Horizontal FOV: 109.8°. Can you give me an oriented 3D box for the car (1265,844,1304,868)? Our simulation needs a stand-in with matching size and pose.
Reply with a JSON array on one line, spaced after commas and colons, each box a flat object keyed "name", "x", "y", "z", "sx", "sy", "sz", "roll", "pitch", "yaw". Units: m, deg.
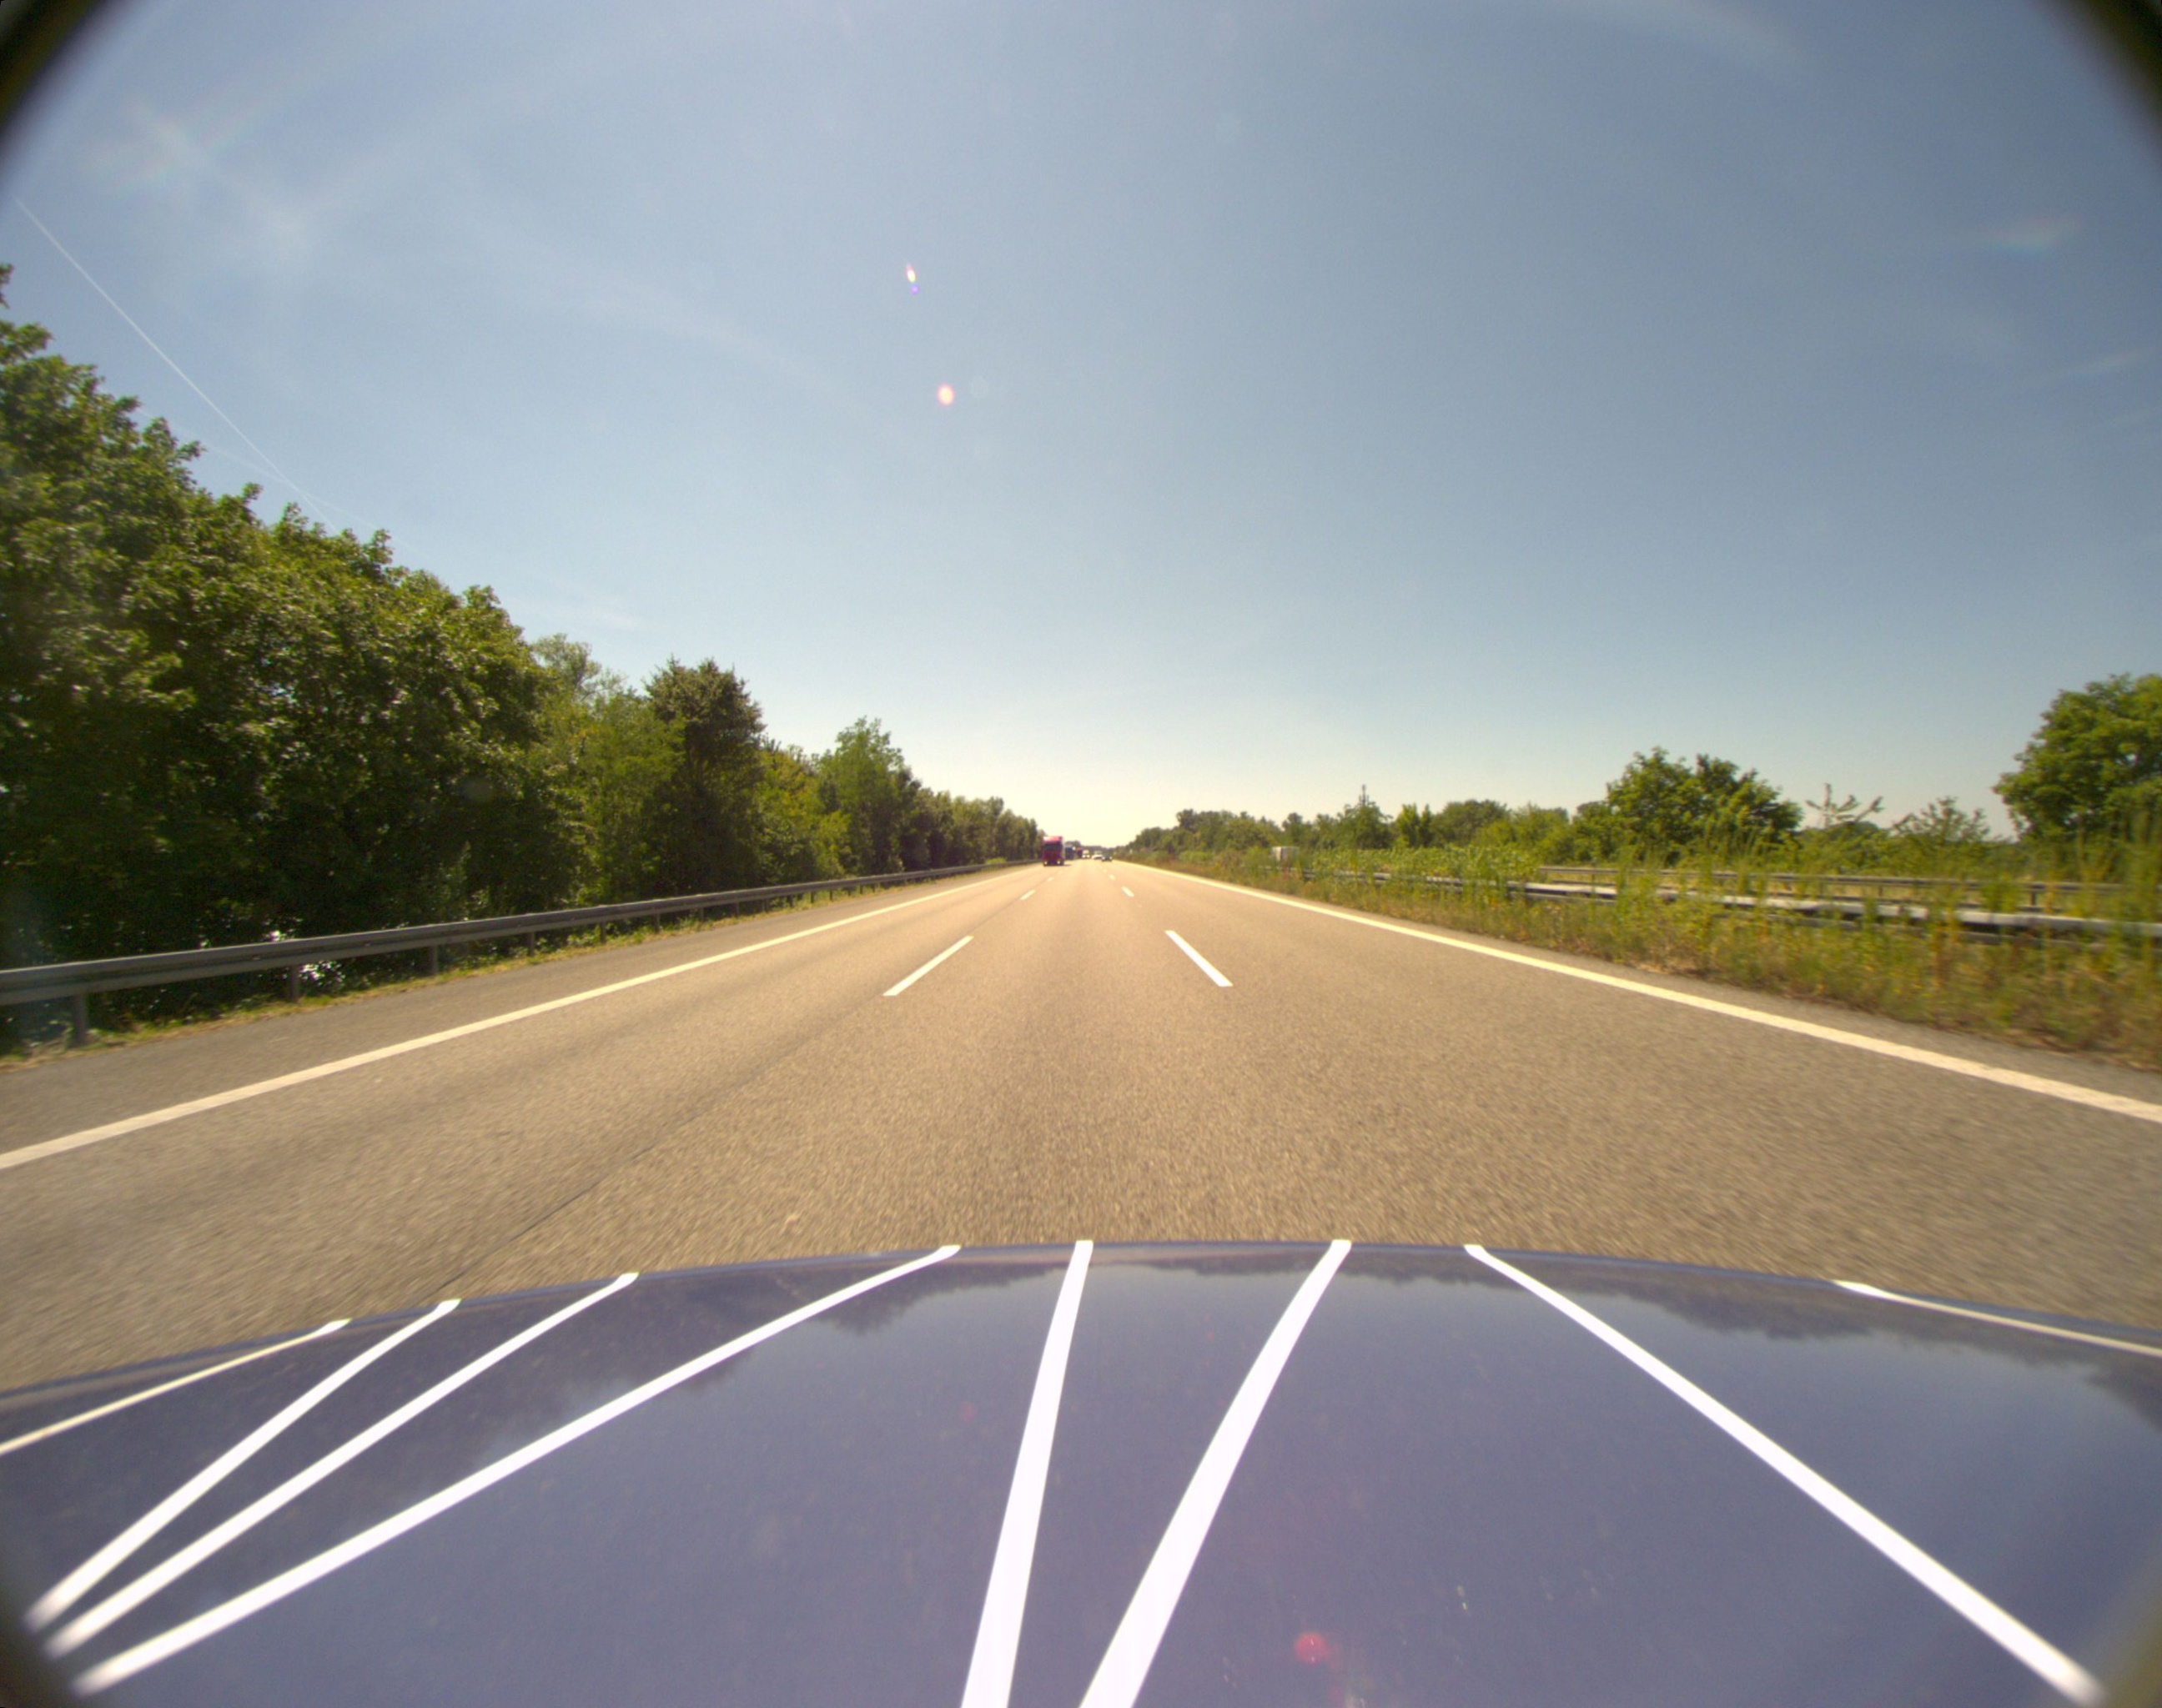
[{"name": "car", "x": 18.046, "y": 0.124, "z": 67.713, "sx": 1.998, "sy": 1.978, "sz": 5.272, "roll": -2, "pitch": 0, "yaw": 0}]

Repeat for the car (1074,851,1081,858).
[{"name": "car", "x": -1.211, "y": 0.205, "z": 243.039, "sx": 1.998, "sy": 2.002, "sz": 4.755, "roll": -2, "pitch": 0, "yaw": 0}]

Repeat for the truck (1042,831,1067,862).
[{"name": "truck", "x": -3.565, "y": -1.016, "z": 104.601, "sx": 2.938, "sy": 3.934, "sz": 10.259, "roll": -2, "pitch": 0, "yaw": 1}]

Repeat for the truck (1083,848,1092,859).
[{"name": "truck", "x": 2.046, "y": -0.130, "z": 244.537, "sx": 2.726, "sy": 3.391, "sz": 9.769, "roll": -2, "pitch": 0, "yaw": 1}]

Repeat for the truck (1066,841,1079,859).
[{"name": "truck", "x": -2.267, "y": -1.127, "z": 197.482, "sx": 2.938, "sy": 4.429, "sz": 10.259, "roll": -2, "pitch": 0, "yaw": 1}]

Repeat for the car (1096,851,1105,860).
[{"name": "car", "x": 4.503, "y": 0.283, "z": 179.335, "sx": 1.998, "sy": 2.002, "sz": 4.755, "roll": -2, "pitch": 0, "yaw": 0}]

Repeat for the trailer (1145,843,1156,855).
[{"name": "trailer", "x": 24.716, "y": -1.859, "z": 270.576, "sx": 2.939, "sy": 3.952, "sz": 10.628, "roll": -2, "pitch": 0, "yaw": 1}]

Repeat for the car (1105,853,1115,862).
[{"name": "car", "x": 5.130, "y": 0.670, "z": 134.577, "sx": 1.736, "sy": 1.433, "sz": 4.000, "roll": -2, "pitch": 0, "yaw": 1}]
